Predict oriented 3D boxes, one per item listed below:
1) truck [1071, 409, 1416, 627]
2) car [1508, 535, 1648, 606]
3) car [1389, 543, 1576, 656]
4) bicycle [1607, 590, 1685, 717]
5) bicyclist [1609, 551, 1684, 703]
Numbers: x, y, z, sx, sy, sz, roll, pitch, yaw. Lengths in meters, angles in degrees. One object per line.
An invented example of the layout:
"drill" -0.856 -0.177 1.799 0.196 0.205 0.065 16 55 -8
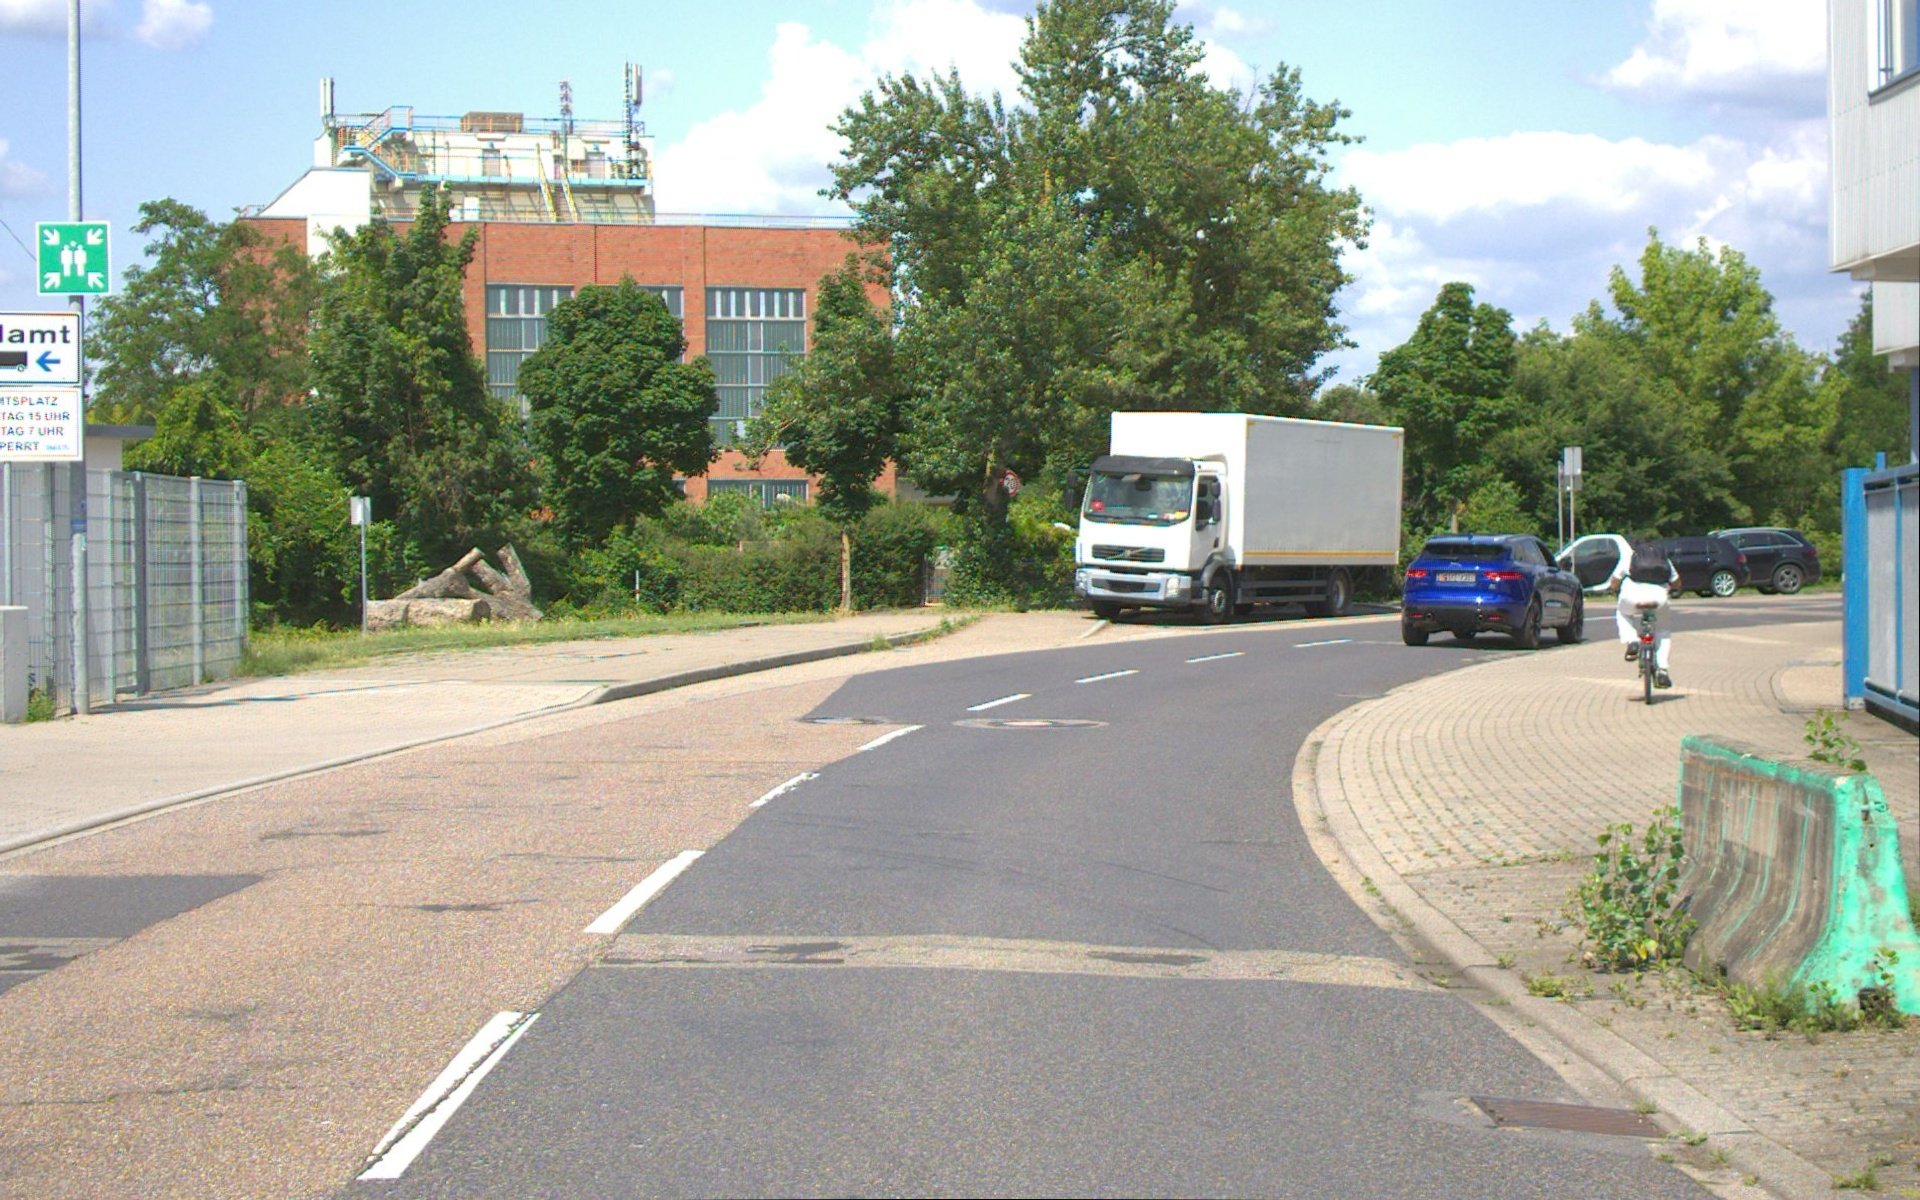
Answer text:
"truck" 5.182 -1.497 60.800 2.325 3.555 9.352 2 2 30
"car" 13.971 -0.659 77.811 2.898 1.564 1.890 0 0 3
"car" 7.830 -0.029 51.178 1.911 1.588 4.697 0 1 19
"bicycle" 6.420 0.483 32.240 0.667 1.105 2.167 -1 1 10
"bicyclist" 6.445 0.245 32.296 0.663 1.393 0.858 -1 1 11
